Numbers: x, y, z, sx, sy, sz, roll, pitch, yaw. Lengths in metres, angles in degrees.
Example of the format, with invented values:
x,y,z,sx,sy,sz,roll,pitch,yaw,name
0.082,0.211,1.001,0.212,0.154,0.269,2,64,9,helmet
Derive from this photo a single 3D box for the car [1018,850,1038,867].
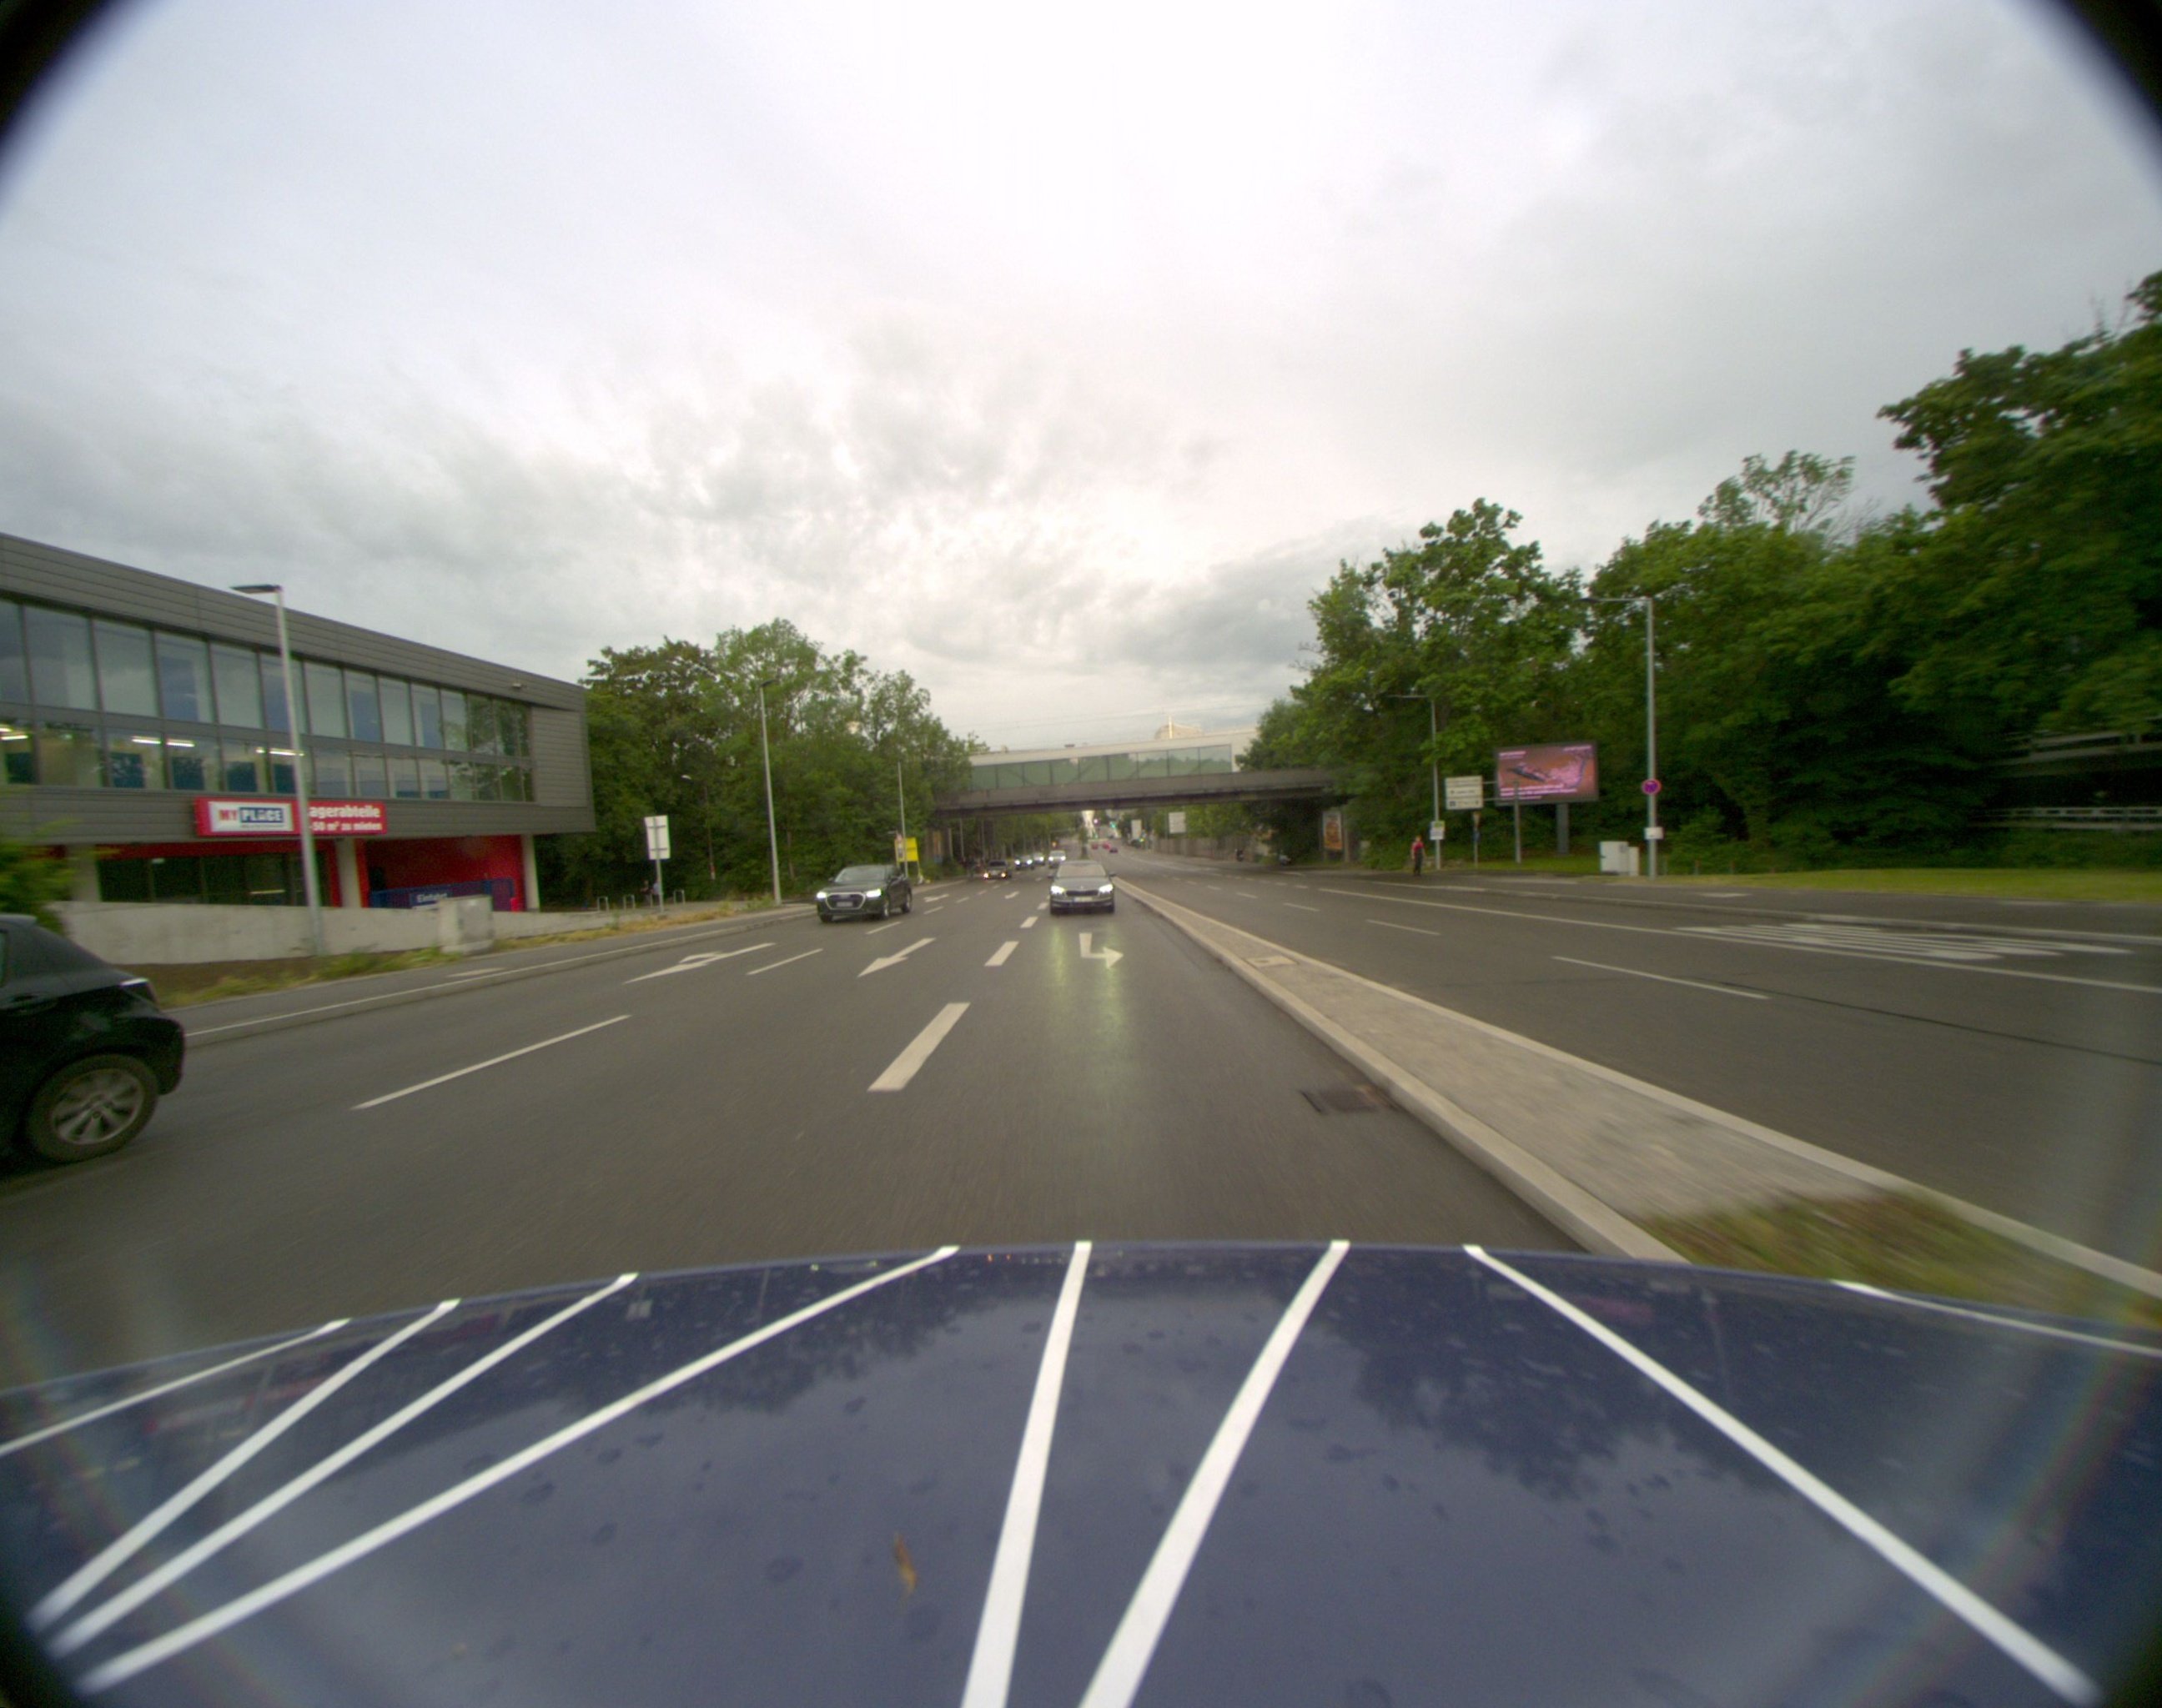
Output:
x,y,z,sx,sy,sz,roll,pitch,yaw,name
-5.760,0.468,82.889,1.825,1.581,4.331,-3,2,1,car

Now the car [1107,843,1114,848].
x,y,z,sx,sy,sz,roll,pitch,yaw,name
8.912,-2.602,230.405,1.720,1.429,3.770,-1,2,-1,car

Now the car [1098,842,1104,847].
x,y,z,sx,sy,sz,roll,pitch,yaw,name
6.328,-3.097,245.277,1.777,1.396,4.613,-2,1,1,car

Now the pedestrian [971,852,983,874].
x,y,z,sx,sy,sz,roll,pitch,yaw,name
-8.307,0.737,60.654,0.612,1.711,0.892,-2,2,11,pedestrian

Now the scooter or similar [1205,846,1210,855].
x,y,z,sx,sy,sz,roll,pitch,yaw,name
15.848,-0.438,95.195,0.312,1.211,1.307,-2,1,1,scooter or similar

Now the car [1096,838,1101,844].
x,y,z,sx,sy,sz,roll,pitch,yaw,name
5.242,-4.015,230.412,1.589,1.596,3.854,-1,2,1,car

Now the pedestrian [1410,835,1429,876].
x,y,z,sx,sy,sz,roll,pitch,yaw,name
15.031,0.058,33.744,0.520,1.805,0.800,-3,1,11,pedestrian

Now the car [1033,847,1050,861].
x,y,z,sx,sy,sz,roll,pitch,yaw,name
-5.173,-0.022,99.648,1.820,1.571,4.331,-3,2,1,car

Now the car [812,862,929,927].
x,y,z,sx,sy,sz,roll,pitch,yaw,name
-6.116,1.096,22.828,1.820,1.536,5.608,-3,0,1,car

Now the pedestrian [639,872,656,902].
x,y,z,sx,sy,sz,roll,pitch,yaw,name
-27.300,2.086,47.869,0.585,1.805,0.626,-3,1,29,pedestrian

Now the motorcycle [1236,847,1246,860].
x,y,z,sx,sy,sz,roll,pitch,yaw,name
15.626,-0.063,74.287,0.470,1.198,1.996,-2,1,0,motorcycle

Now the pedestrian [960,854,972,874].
x,y,z,sx,sy,sz,roll,pitch,yaw,name
-9.188,0.786,60.771,0.651,1.587,0.579,-2,2,12,pedestrian

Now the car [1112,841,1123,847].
x,y,z,sx,sy,sz,roll,pitch,yaw,name
8.433,-2.355,176.404,2.069,1.354,4.755,-2,1,-1,car

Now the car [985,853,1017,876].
x,y,z,sx,sy,sz,roll,pitch,yaw,name
-5.959,0.727,57.031,1.749,1.422,4.515,-4,2,1,car

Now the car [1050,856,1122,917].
x,y,z,sx,sy,sz,roll,pitch,yaw,name
0.147,0.853,21.906,1.820,1.536,4.063,-2,0,1,car

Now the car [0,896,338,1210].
x,y,z,sx,sy,sz,roll,pitch,yaw,name
-6.460,1.170,3.302,1.749,1.462,4.639,-4,2,1,car

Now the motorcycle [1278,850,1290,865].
x,y,z,sx,sy,sz,roll,pitch,yaw,name
15.389,0.262,57.554,0.469,1.152,1.932,-2,1,4,motorcycle

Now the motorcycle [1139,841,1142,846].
x,y,z,sx,sy,sz,roll,pitch,yaw,name
15.882,-2.835,204.135,0.569,1.156,2.038,-2,2,-1,motorcycle

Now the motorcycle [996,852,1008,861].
x,y,z,sx,sy,sz,roll,pitch,yaw,name
-11.627,0.352,112.099,1.656,1.144,0.493,-4,2,9,motorcycle

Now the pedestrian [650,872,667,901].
x,y,z,sx,sy,sz,roll,pitch,yaw,name
-27.013,2.061,48.593,0.585,1.805,0.602,-3,1,29,pedestrian

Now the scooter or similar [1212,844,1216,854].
x,y,z,sx,sy,sz,roll,pitch,yaw,name
15.767,-0.629,90.268,0.312,1.211,1.308,-2,1,5,scooter or similar

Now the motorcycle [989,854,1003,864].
x,y,z,sx,sy,sz,roll,pitch,yaw,name
-11.433,0.665,102.117,1.855,1.184,0.521,-3,1,-15,motorcycle

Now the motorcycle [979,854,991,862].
x,y,z,sx,sy,sz,roll,pitch,yaw,name
-14.786,0.565,117.238,1.641,1.139,0.560,-4,2,11,motorcycle

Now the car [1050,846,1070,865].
x,y,z,sx,sy,sz,roll,pitch,yaw,name
-2.355,0.091,87.105,2.035,1.920,4.331,-3,2,1,car

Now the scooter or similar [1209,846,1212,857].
x,y,z,sx,sy,sz,roll,pitch,yaw,name
15.815,-0.311,92.697,0.312,1.211,1.309,-2,1,12,scooter or similar

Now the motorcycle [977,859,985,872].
x,y,z,sx,sy,sz,roll,pitch,yaw,name
-9.383,1.064,71.504,0.471,1.130,1.818,-2,1,0,motorcycle
